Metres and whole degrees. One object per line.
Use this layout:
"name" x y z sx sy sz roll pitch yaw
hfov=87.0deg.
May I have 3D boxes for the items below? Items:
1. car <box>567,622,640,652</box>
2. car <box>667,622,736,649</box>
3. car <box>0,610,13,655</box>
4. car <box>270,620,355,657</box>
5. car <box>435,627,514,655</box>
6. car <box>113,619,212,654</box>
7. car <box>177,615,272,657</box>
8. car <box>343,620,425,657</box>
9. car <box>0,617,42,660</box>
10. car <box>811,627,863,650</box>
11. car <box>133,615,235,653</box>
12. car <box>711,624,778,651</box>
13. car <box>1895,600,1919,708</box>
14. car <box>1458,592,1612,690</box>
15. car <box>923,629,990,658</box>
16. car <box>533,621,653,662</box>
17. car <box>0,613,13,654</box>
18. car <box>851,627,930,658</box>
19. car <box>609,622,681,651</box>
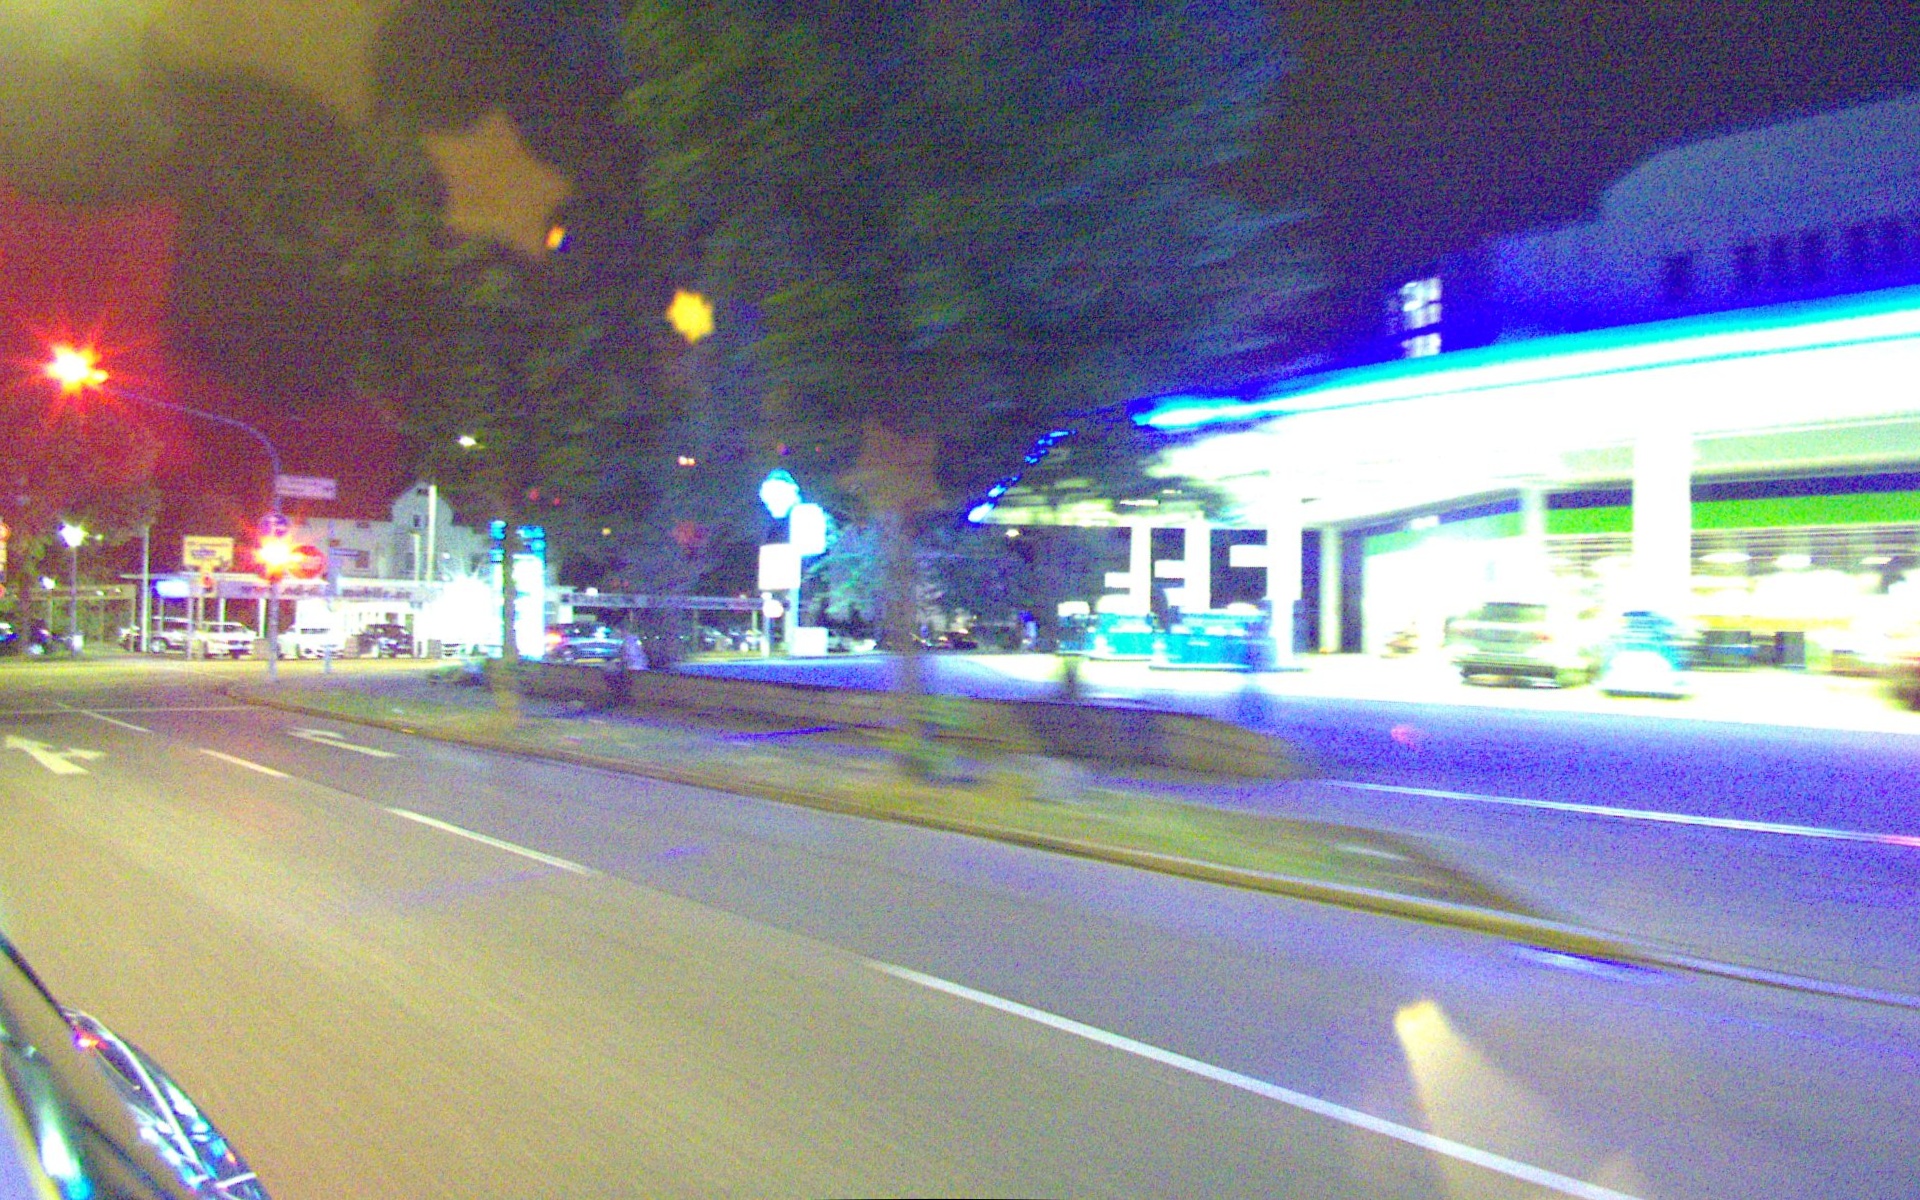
"car" -18.471 1.895 52.417 4.083 1.489 1.710 -1 -3 40
"car" -14.575 2.007 56.963 4.024 1.489 1.758 -1 -3 40
"car" -42.642 1.275 42.407 1.632 1.905 4.006 -1 -4 37
"car" -27.153 1.621 42.373 4.066 1.472 1.840 -1 -3 40
"car" -27.060 2.303 56.590 1.716 1.489 4.257 0 -2 13
"car" -39.786 1.829 50.560 1.632 1.598 3.531 -1 -4 38
"car" -29.228 1.416 40.166 4.382 1.569 1.974 -1 -3 39
"car" -25.618 1.715 44.966 4.066 1.565 1.840 -1 -3 40
"car" -36.894 1.400 37.692 1.632 1.598 3.718 -1 -4 37
"car" -8.295 2.573 68.257 3.411 1.512 1.589 -1 -3 41
"car" -37.118 1.644 48.445 1.633 1.712 3.530 -1 -4 40
"car" -12.632 2.193 59.150 3.955 1.489 1.743 -1 -3 40
"car" 15.434 0.805 15.297 1.669 1.544 3.712 -1 -2 40
"car" 11.617 0.795 20.316 1.977 1.740 4.302 -1 -2 40
"car" -0.158 2.258 53.093 1.680 1.422 3.524 -1 -2 39
"car" -14.743 1.627 40.809 1.686 1.571 4.256 -1 -1 41
"car" -40.785 1.286 40.793 1.618 1.641 3.533 -1 -4 37
"car" -3.316 2.023 48.953 1.735 1.422 3.803 -1 -1 39
"car" -17.153 1.984 55.080 4.083 1.489 1.840 -1 -3 40
